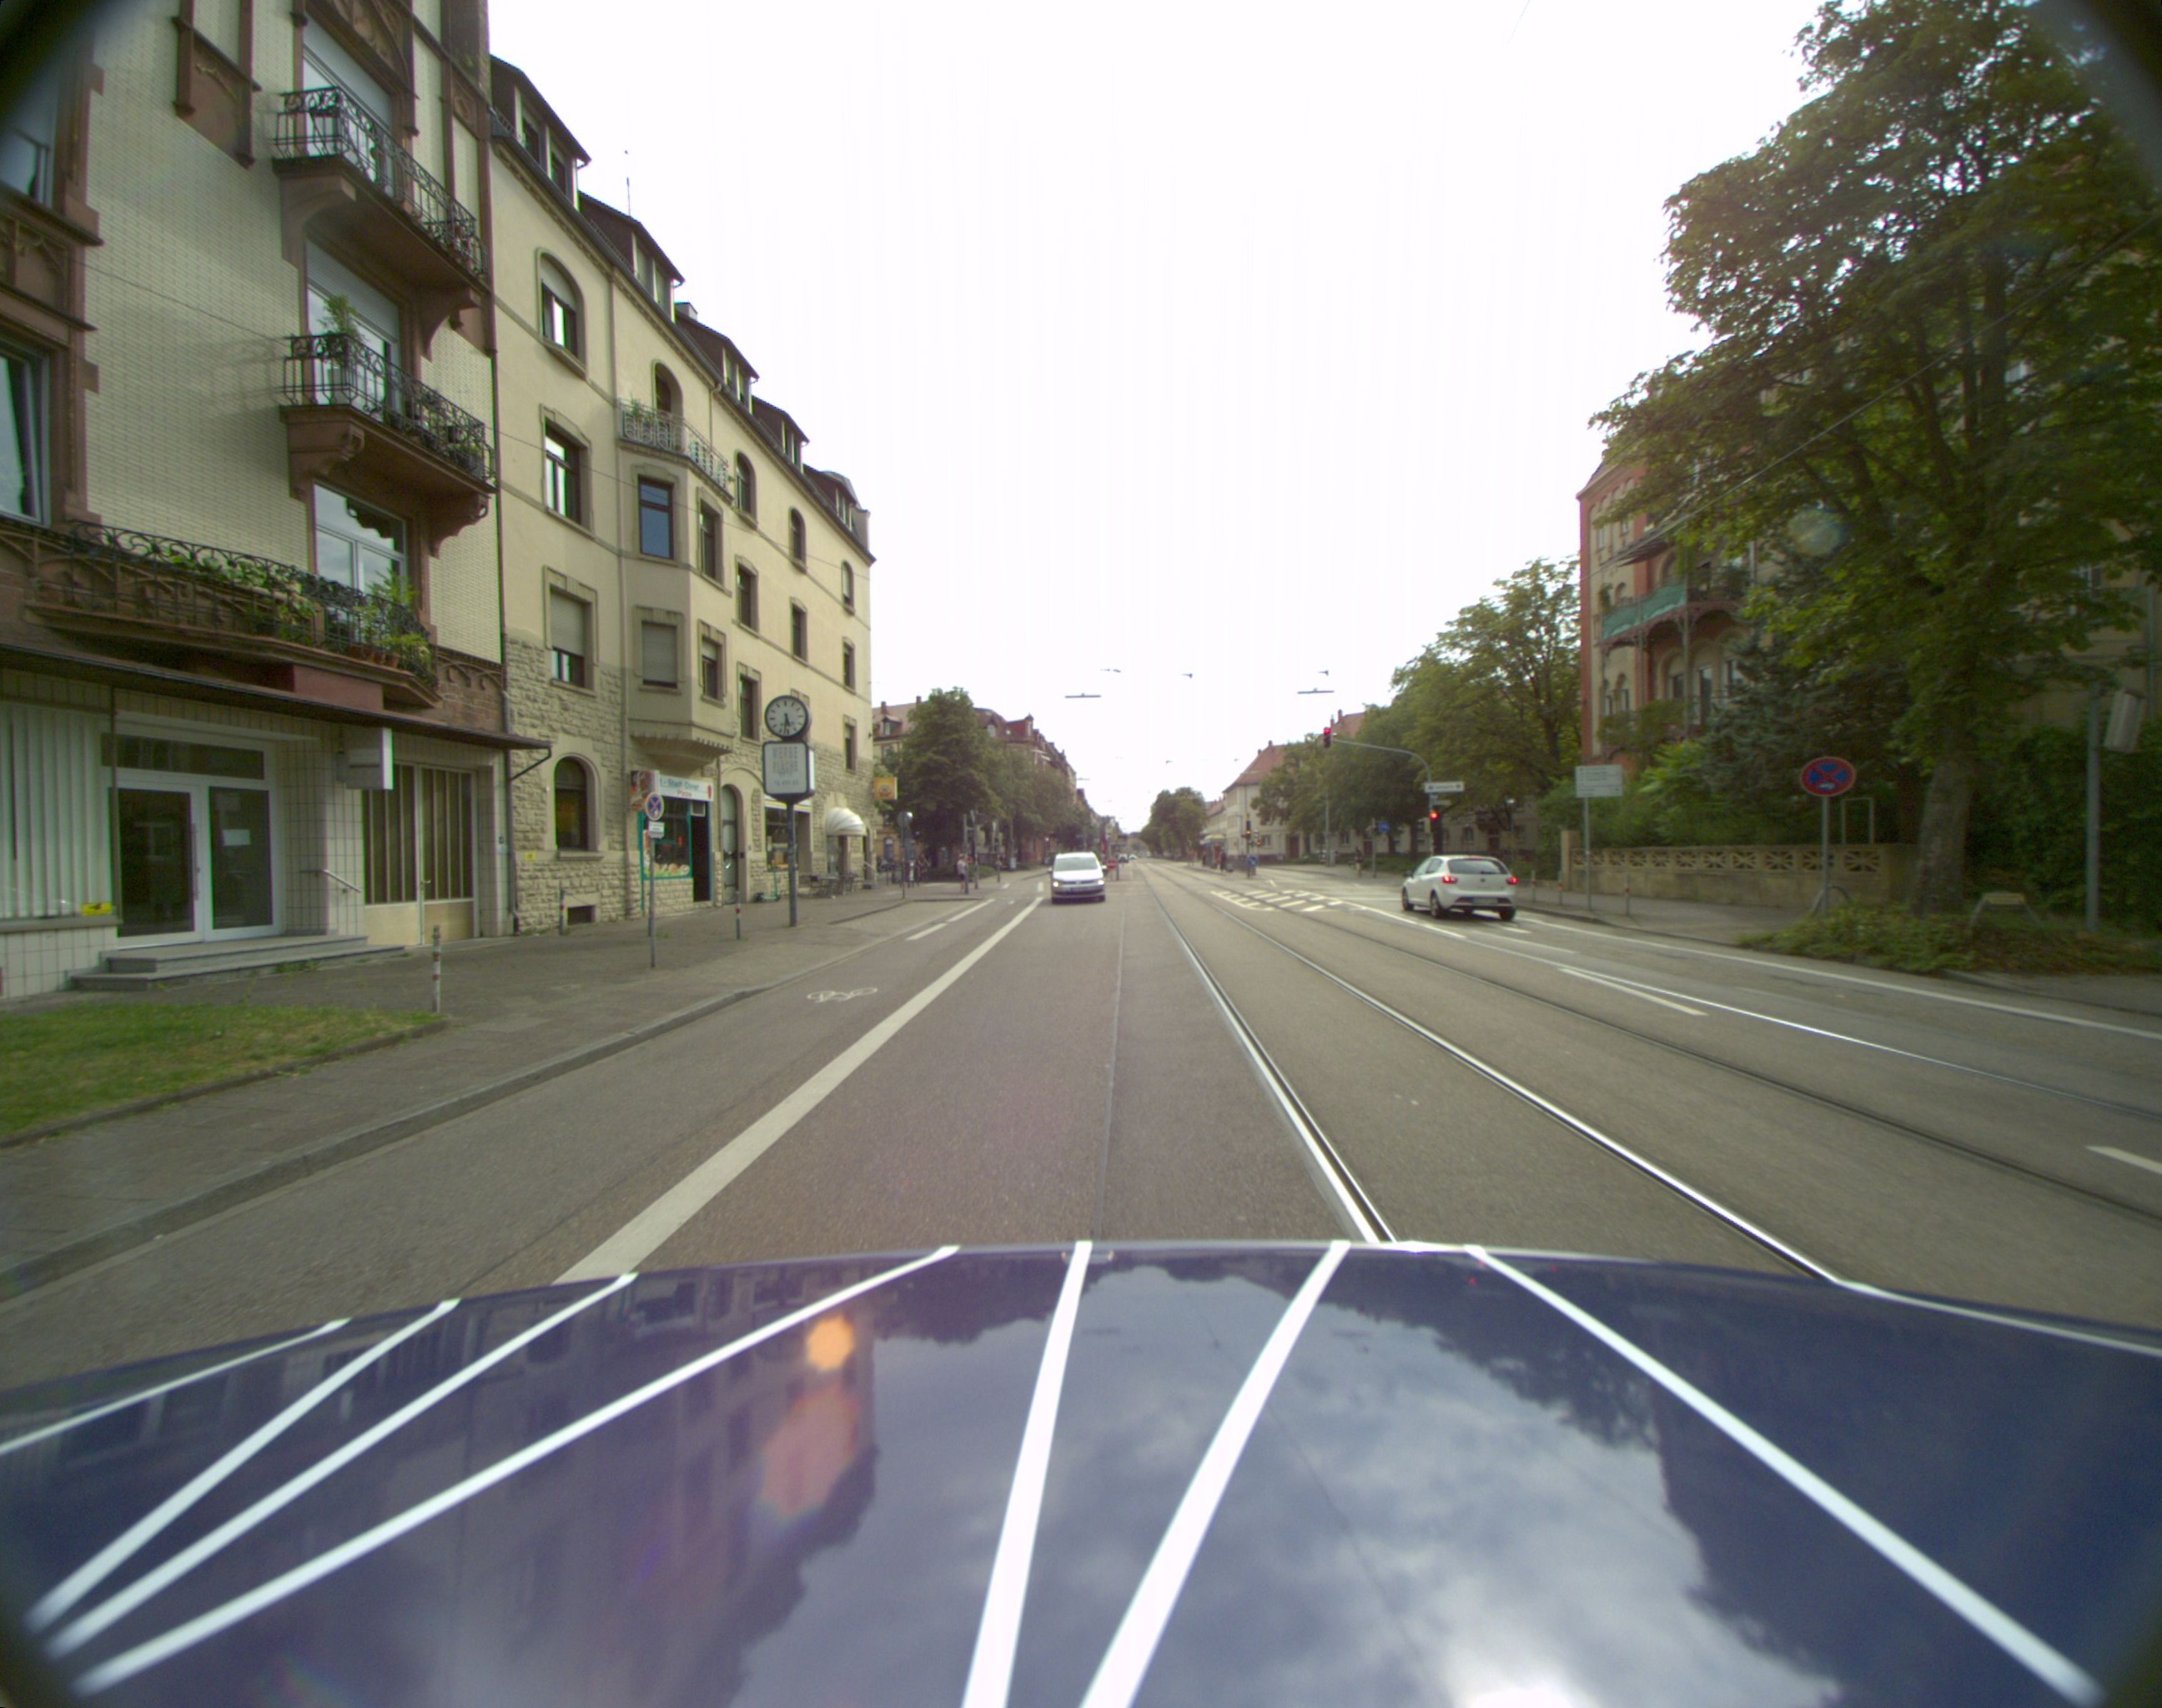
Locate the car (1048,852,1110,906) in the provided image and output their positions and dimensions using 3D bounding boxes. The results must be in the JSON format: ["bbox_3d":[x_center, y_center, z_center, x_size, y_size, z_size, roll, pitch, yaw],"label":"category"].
[{"bbox_3d":[0.004,0.819,26.834,1.766,1.661,4.330,-3,0,4],"label":"car"}]

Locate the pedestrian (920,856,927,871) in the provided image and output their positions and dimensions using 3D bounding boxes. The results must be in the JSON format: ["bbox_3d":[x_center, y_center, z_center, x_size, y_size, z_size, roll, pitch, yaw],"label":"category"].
[{"bbox_3d":[-17.773,1.076,85.796,0.612,1.684,0.641,-1,1,-1],"label":"pedestrian"}]

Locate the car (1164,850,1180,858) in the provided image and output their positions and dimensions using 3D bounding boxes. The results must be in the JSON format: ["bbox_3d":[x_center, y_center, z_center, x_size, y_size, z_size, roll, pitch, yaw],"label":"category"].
[{"bbox_3d":[23.168,0.043,193.433,3.995,1.716,1.877,-2,0,6],"label":"car"}]

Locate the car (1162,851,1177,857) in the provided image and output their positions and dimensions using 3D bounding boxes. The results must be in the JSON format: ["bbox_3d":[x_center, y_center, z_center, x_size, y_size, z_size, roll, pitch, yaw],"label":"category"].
[{"bbox_3d":[24.604,-0.031,210.505,3.995,1.716,1.877,-2,0,6],"label":"car"}]

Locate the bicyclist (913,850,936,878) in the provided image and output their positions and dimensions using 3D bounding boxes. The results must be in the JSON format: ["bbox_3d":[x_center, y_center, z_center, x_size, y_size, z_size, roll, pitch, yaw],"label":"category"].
[{"bbox_3d":[-9.559,0.634,46.472,0.841,1.680,1.243,-1,0,-40],"label":"bicyclist"}]

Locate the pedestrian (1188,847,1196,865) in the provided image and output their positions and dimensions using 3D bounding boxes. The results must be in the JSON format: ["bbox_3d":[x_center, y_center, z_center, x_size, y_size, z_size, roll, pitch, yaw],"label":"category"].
[{"bbox_3d":[11.780,0.201,80.707,0.658,1.824,0.464,-2,1,-10],"label":"pedestrian"}]

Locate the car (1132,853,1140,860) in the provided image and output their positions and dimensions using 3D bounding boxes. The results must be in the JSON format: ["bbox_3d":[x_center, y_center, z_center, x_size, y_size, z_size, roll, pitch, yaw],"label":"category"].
[{"bbox_3d":[14.955,0.682,207.887,1.998,2.002,4.001,-2,0,5],"label":"car"}]

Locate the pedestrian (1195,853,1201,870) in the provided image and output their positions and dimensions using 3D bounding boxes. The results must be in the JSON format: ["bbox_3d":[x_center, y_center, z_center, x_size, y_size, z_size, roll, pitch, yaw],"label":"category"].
[{"bbox_3d":[12.461,0.796,80.711,0.501,1.694,0.402,-2,1,-10],"label":"pedestrian"}]

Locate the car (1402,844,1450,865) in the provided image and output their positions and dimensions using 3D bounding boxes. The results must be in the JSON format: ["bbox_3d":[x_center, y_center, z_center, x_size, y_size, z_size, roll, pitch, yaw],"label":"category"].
[{"bbox_3d":[33.124,0.037,72.987,1.857,1.854,3.748,-2,0,-36],"label":"car"}]

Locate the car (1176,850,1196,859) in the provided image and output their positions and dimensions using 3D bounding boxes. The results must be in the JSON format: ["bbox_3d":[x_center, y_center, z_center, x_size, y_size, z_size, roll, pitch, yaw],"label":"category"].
[{"bbox_3d":[21.167,0.163,153.403,3.995,1.716,1.877,-2,0,6],"label":"car"}]

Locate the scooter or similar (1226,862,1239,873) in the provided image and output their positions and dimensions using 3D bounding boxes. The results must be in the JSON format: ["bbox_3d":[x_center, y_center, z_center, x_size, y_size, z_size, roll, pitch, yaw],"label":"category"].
[{"bbox_3d":[10.045,0.921,50.389,0.669,0.708,0.604,0,1,35],"label":"scooter or similar"}]

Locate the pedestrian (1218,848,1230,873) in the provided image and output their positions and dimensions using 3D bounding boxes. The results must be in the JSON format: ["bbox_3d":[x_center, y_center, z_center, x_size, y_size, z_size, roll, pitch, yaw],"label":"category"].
[{"bbox_3d":[9.642,0.428,51.086,0.684,1.681,0.815,0,1,2],"label":"pedestrian"}]

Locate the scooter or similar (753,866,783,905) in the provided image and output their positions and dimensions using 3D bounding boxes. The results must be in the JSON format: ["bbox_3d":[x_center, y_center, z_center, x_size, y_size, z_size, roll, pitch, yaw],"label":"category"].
[{"bbox_3d":[-9.896,0.980,24.057,0.398,1.161,1.197,1,0,4],"label":"scooter or similar"}]

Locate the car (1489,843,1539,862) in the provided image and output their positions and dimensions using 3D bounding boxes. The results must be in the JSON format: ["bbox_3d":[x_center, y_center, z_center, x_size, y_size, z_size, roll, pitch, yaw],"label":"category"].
[{"bbox_3d":[34.348,-0.114,60.421,1.702,1.397,4.312,-1,0,3],"label":"car"}]

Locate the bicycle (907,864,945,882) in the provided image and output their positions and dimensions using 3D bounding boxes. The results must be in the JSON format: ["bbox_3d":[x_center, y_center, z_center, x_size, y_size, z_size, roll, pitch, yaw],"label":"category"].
[{"bbox_3d":[-9.484,1.146,46.395,0.888,1.039,3.088,-1,0,-41],"label":"bicycle"}]

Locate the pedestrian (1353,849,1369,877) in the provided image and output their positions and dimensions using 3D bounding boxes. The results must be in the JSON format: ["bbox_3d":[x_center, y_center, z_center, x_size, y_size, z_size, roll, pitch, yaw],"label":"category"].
[{"bbox_3d":[17.090,0.532,46.351,0.654,1.680,0.712,-1,1,0],"label":"pedestrian"}]

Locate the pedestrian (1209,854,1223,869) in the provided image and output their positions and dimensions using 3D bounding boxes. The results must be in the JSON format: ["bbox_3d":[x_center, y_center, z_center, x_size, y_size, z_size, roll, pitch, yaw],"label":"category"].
[{"bbox_3d":[11.736,0.621,65.937,1.032,1.229,0.724,-2,1,2],"label":"pedestrian"}]

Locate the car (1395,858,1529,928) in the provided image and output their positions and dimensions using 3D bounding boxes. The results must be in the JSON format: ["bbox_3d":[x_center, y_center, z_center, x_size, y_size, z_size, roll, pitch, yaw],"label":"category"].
[{"bbox_3d":[8.850,0.829,18.014,1.574,1.408,4.002,1,0,7],"label":"car"}]

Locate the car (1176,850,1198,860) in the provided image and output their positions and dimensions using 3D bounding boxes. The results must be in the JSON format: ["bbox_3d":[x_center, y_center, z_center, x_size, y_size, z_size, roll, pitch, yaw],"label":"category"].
[{"bbox_3d":[20.055,0.216,144.119,3.995,1.716,1.877,-2,0,6],"label":"car"}]

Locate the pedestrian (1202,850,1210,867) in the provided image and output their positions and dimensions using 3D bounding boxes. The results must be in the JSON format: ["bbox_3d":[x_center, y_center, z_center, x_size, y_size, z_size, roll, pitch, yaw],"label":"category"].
[{"bbox_3d":[12.143,0.430,73.832,0.588,1.694,0.619,-2,1,0],"label":"pedestrian"}]

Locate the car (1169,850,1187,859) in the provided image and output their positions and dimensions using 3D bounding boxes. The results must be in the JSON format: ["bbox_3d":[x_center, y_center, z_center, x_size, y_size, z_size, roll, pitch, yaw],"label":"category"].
[{"bbox_3d":[22.264,0.098,174.187,3.995,1.716,1.877,-2,0,6],"label":"car"}]

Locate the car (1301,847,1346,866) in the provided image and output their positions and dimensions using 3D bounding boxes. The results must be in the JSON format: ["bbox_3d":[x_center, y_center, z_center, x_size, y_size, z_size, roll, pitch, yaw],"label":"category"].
[{"bbox_3d":[26.391,0.303,82.662,4.188,1.854,1.857,-2,0,38],"label":"car"}]

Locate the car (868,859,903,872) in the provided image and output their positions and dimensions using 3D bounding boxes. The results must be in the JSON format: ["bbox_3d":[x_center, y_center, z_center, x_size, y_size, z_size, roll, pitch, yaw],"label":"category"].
[{"bbox_3d":[-22.276,1.324,86.623,3.581,1.259,1.742,-2,0,27],"label":"car"}]

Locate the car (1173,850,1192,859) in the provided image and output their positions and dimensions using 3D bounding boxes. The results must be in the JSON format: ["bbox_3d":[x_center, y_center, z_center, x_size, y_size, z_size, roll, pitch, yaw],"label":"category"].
[{"bbox_3d":[21.899,0.123,163.698,3.995,1.716,1.877,-2,0,6],"label":"car"}]

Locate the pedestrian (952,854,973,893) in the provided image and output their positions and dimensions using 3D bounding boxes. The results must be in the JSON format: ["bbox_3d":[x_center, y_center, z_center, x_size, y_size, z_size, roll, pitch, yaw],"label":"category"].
[{"bbox_3d":[-5.092,0.834,32.717,0.721,1.651,0.759,3,1,0],"label":"pedestrian"}]

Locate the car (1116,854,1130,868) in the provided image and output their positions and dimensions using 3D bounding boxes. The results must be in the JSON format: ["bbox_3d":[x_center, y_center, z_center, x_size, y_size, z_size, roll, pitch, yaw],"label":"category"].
[{"bbox_3d":[6.742,1.085,120.817,1.998,2.002,4.001,-2,0,5],"label":"car"}]

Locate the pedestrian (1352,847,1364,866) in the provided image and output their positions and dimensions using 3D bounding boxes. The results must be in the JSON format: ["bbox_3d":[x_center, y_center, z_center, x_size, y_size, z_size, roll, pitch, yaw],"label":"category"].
[{"bbox_3d":[28.444,0.253,78.091,0.862,2.002,0.765,-2,1,38],"label":"pedestrian"}]
